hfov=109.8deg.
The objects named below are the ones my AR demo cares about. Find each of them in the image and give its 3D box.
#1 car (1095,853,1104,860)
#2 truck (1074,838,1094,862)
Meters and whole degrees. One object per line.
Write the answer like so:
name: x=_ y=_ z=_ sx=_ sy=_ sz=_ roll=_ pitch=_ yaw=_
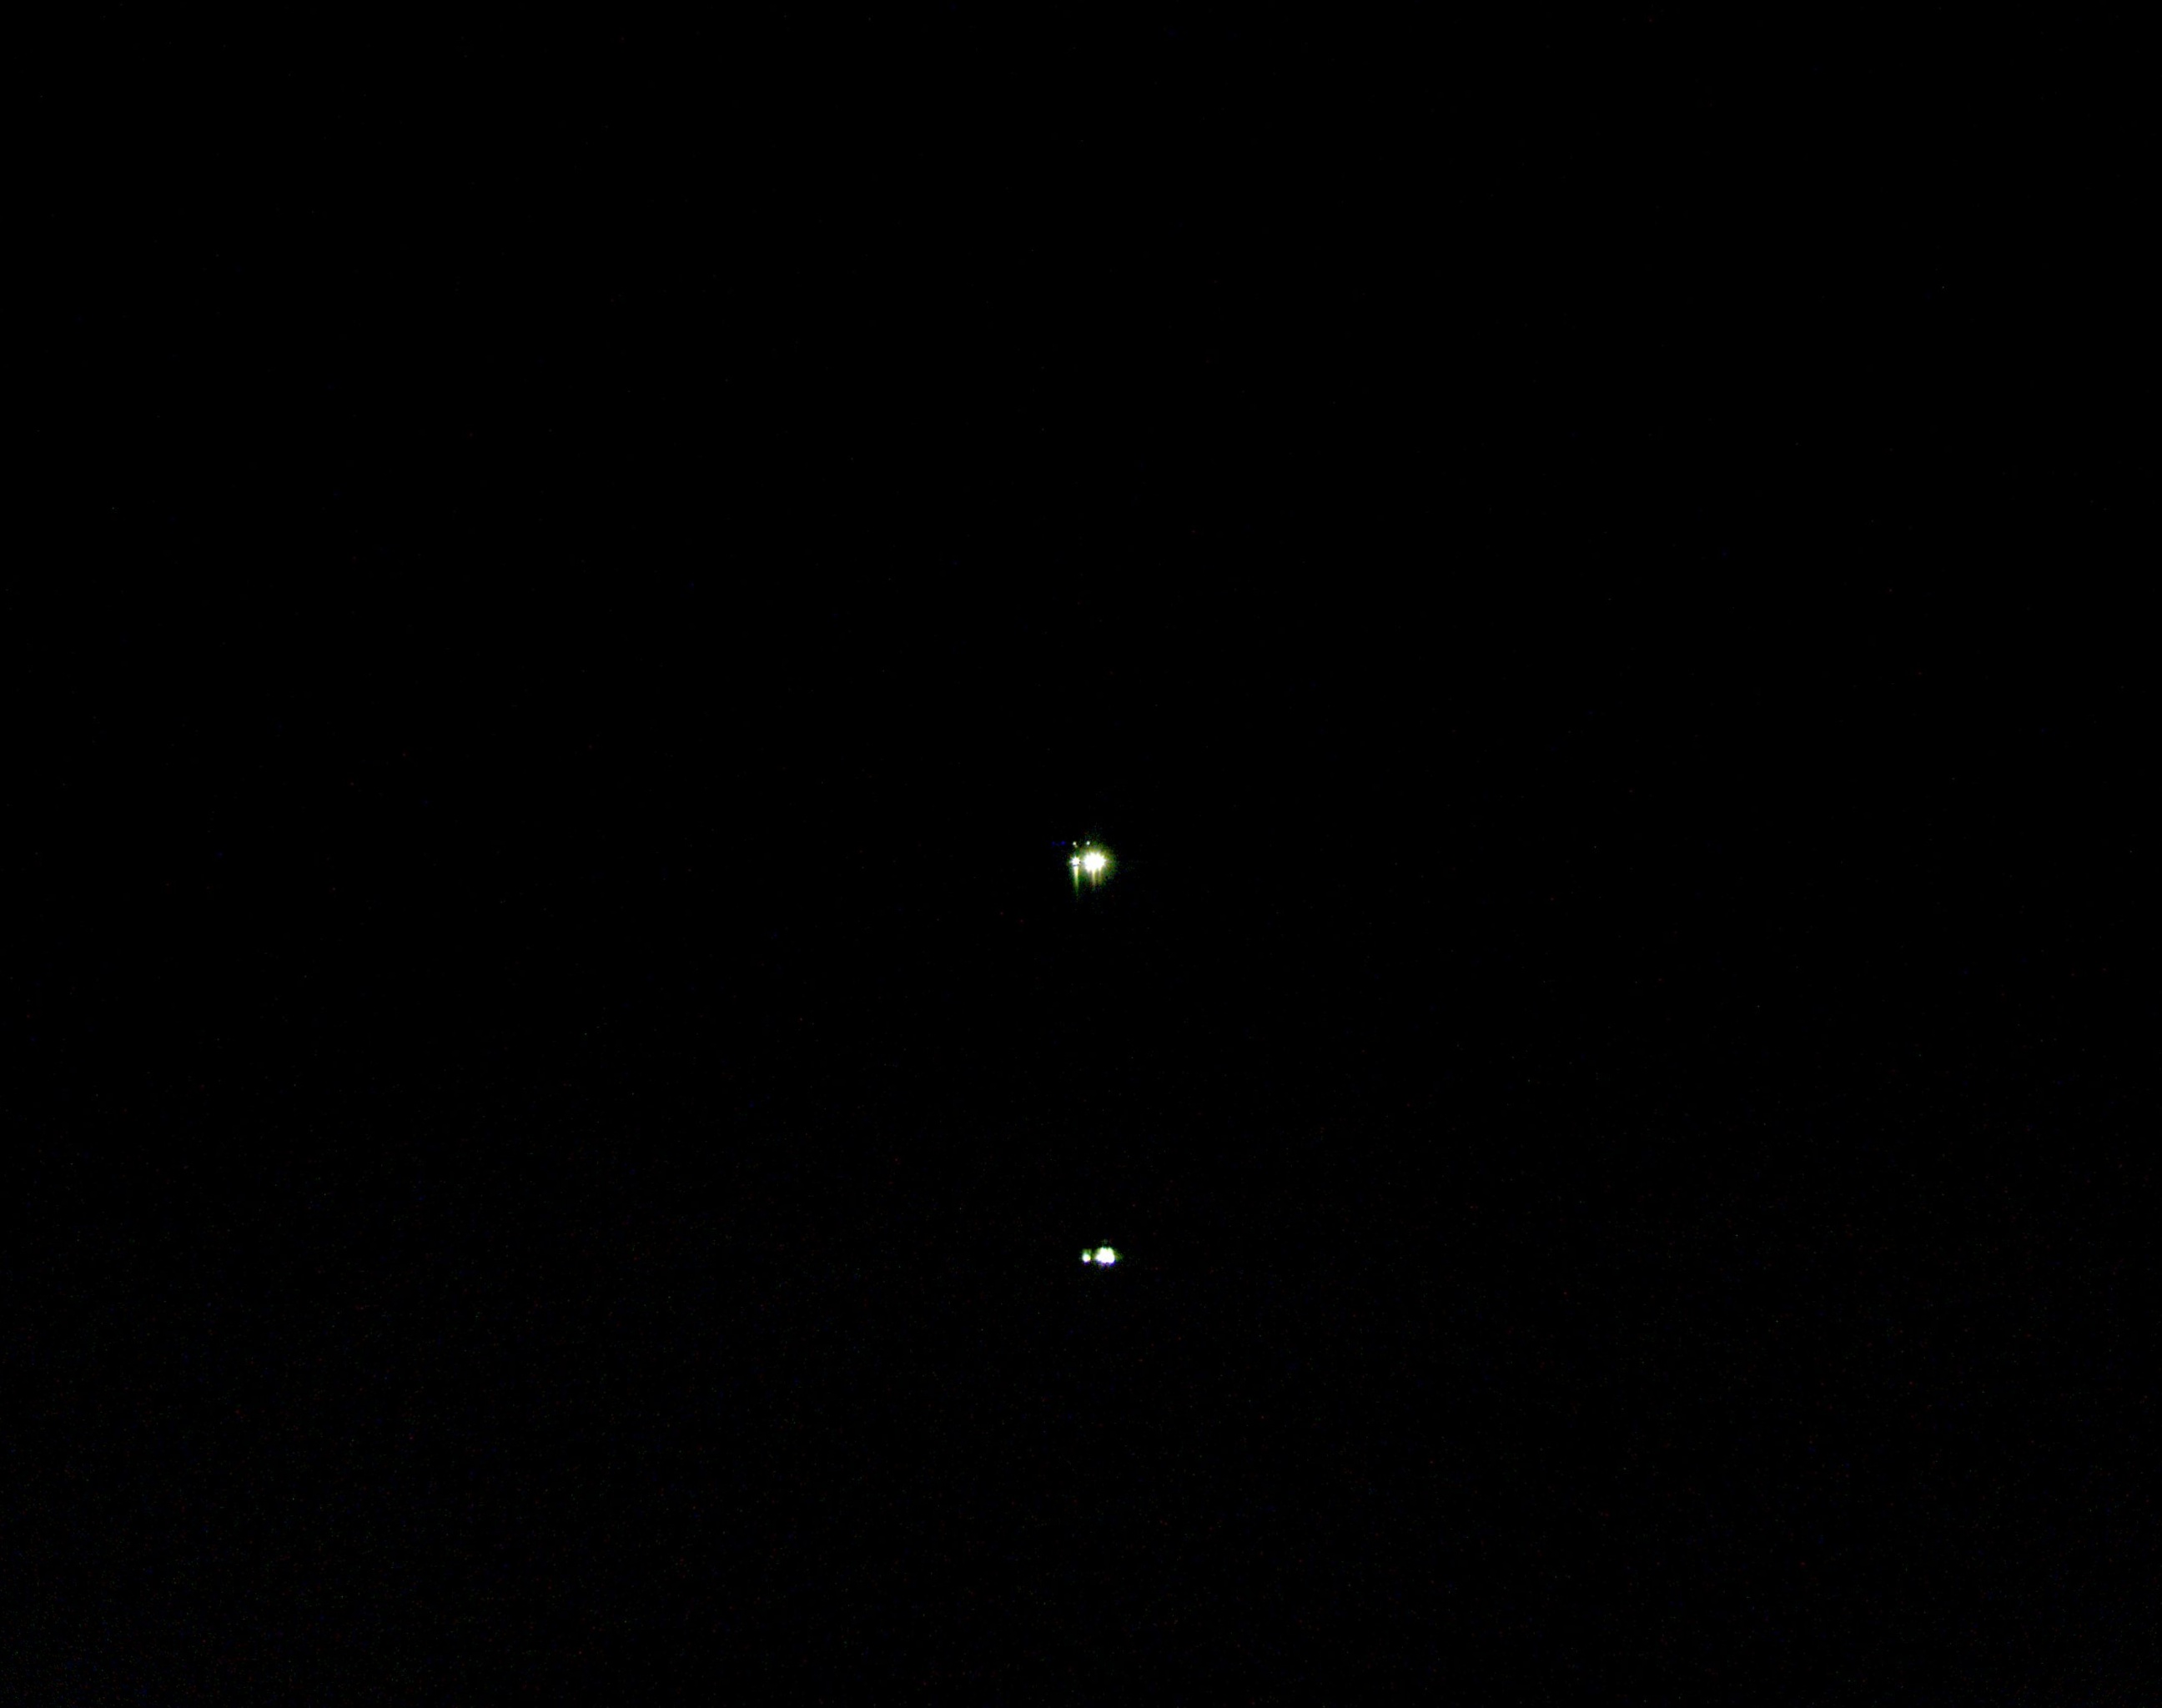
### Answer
car: x=4.457 y=0.585 z=183.197 sx=1.845 sy=1.475 sz=4.293 roll=-2 pitch=0 yaw=4
truck: x=0.649 y=-0.636 z=131.813 sx=3.003 sy=3.877 sz=12.889 roll=-2 pitch=0 yaw=2
